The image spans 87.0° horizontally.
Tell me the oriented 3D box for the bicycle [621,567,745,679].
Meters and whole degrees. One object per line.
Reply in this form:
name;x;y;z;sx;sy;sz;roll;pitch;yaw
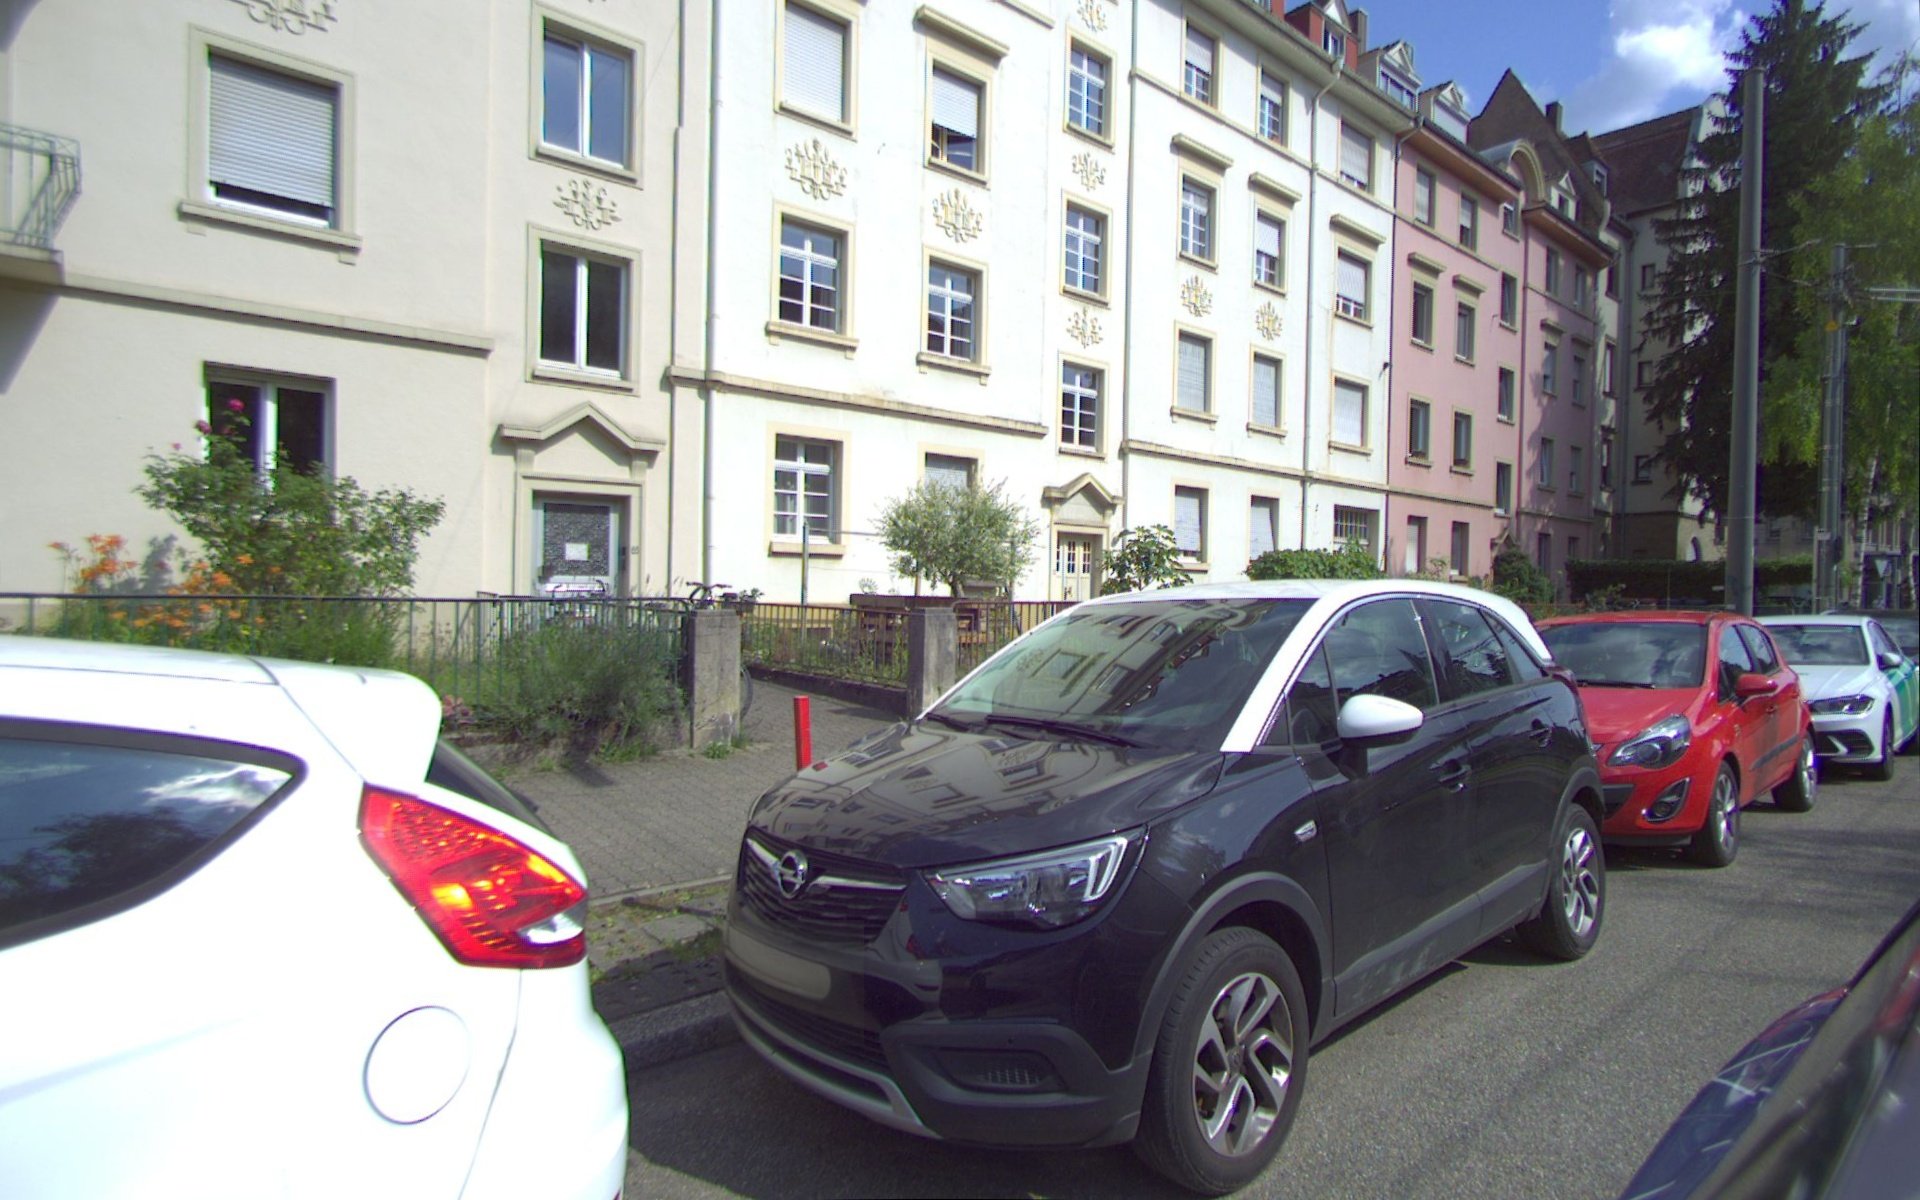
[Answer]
bicycle;-3.430;0.237;12.405;0.661;1.267;1.976;1;1;-41

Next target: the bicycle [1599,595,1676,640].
bicycle;19.599;0.498;29.297;0.413;1.235;1.776;1;1;-41

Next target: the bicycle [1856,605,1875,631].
bicycle;37.288;0.737;41.667;1.455;1.034;0.350;0;4;-41

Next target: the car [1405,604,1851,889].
car;4.822;0.793;7.110;3.776;1.471;1.591;0;-2;-40

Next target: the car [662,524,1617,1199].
car;0.968;0.670;3.718;3.694;1.599;1.495;0;-1;-42

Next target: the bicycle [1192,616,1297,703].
bicycle;3.384;0.680;11.978;1.557;0.950;0.388;0;1;-41

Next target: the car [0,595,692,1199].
car;-2.350;0.730;0.939;3.729;1.435;1.675;0;-2;-41

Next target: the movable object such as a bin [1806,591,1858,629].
movable object such as a bin;36.020;0.401;41.811;1.964;1.511;1.305;1;1;-40

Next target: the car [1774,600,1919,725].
car;13.124;0.784;14.257;4.447;1.540;1.794;0;-2;-41

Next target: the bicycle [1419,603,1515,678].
bicycle;7.948;0.607;15.827;2.143;1.090;0.472;0;1;-39

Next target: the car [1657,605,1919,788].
car;8.494;0.807;10.038;3.849;1.471;1.622;0;-2;-40

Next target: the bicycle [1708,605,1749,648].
bicycle;19.805;0.670;26.080;1.746;1.066;0.420;1;1;-39

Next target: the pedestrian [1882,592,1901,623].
pedestrian;56.579;0.428;61.484;0.732;1.866;0.797;1;1;35

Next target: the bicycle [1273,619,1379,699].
bicycle;4.815;0.737;13.256;1.974;0.955;0.378;1;1;-41

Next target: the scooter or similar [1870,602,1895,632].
scooter or similar;38.292;0.684;41.993;1.166;1.193;0.522;1;3;-39
